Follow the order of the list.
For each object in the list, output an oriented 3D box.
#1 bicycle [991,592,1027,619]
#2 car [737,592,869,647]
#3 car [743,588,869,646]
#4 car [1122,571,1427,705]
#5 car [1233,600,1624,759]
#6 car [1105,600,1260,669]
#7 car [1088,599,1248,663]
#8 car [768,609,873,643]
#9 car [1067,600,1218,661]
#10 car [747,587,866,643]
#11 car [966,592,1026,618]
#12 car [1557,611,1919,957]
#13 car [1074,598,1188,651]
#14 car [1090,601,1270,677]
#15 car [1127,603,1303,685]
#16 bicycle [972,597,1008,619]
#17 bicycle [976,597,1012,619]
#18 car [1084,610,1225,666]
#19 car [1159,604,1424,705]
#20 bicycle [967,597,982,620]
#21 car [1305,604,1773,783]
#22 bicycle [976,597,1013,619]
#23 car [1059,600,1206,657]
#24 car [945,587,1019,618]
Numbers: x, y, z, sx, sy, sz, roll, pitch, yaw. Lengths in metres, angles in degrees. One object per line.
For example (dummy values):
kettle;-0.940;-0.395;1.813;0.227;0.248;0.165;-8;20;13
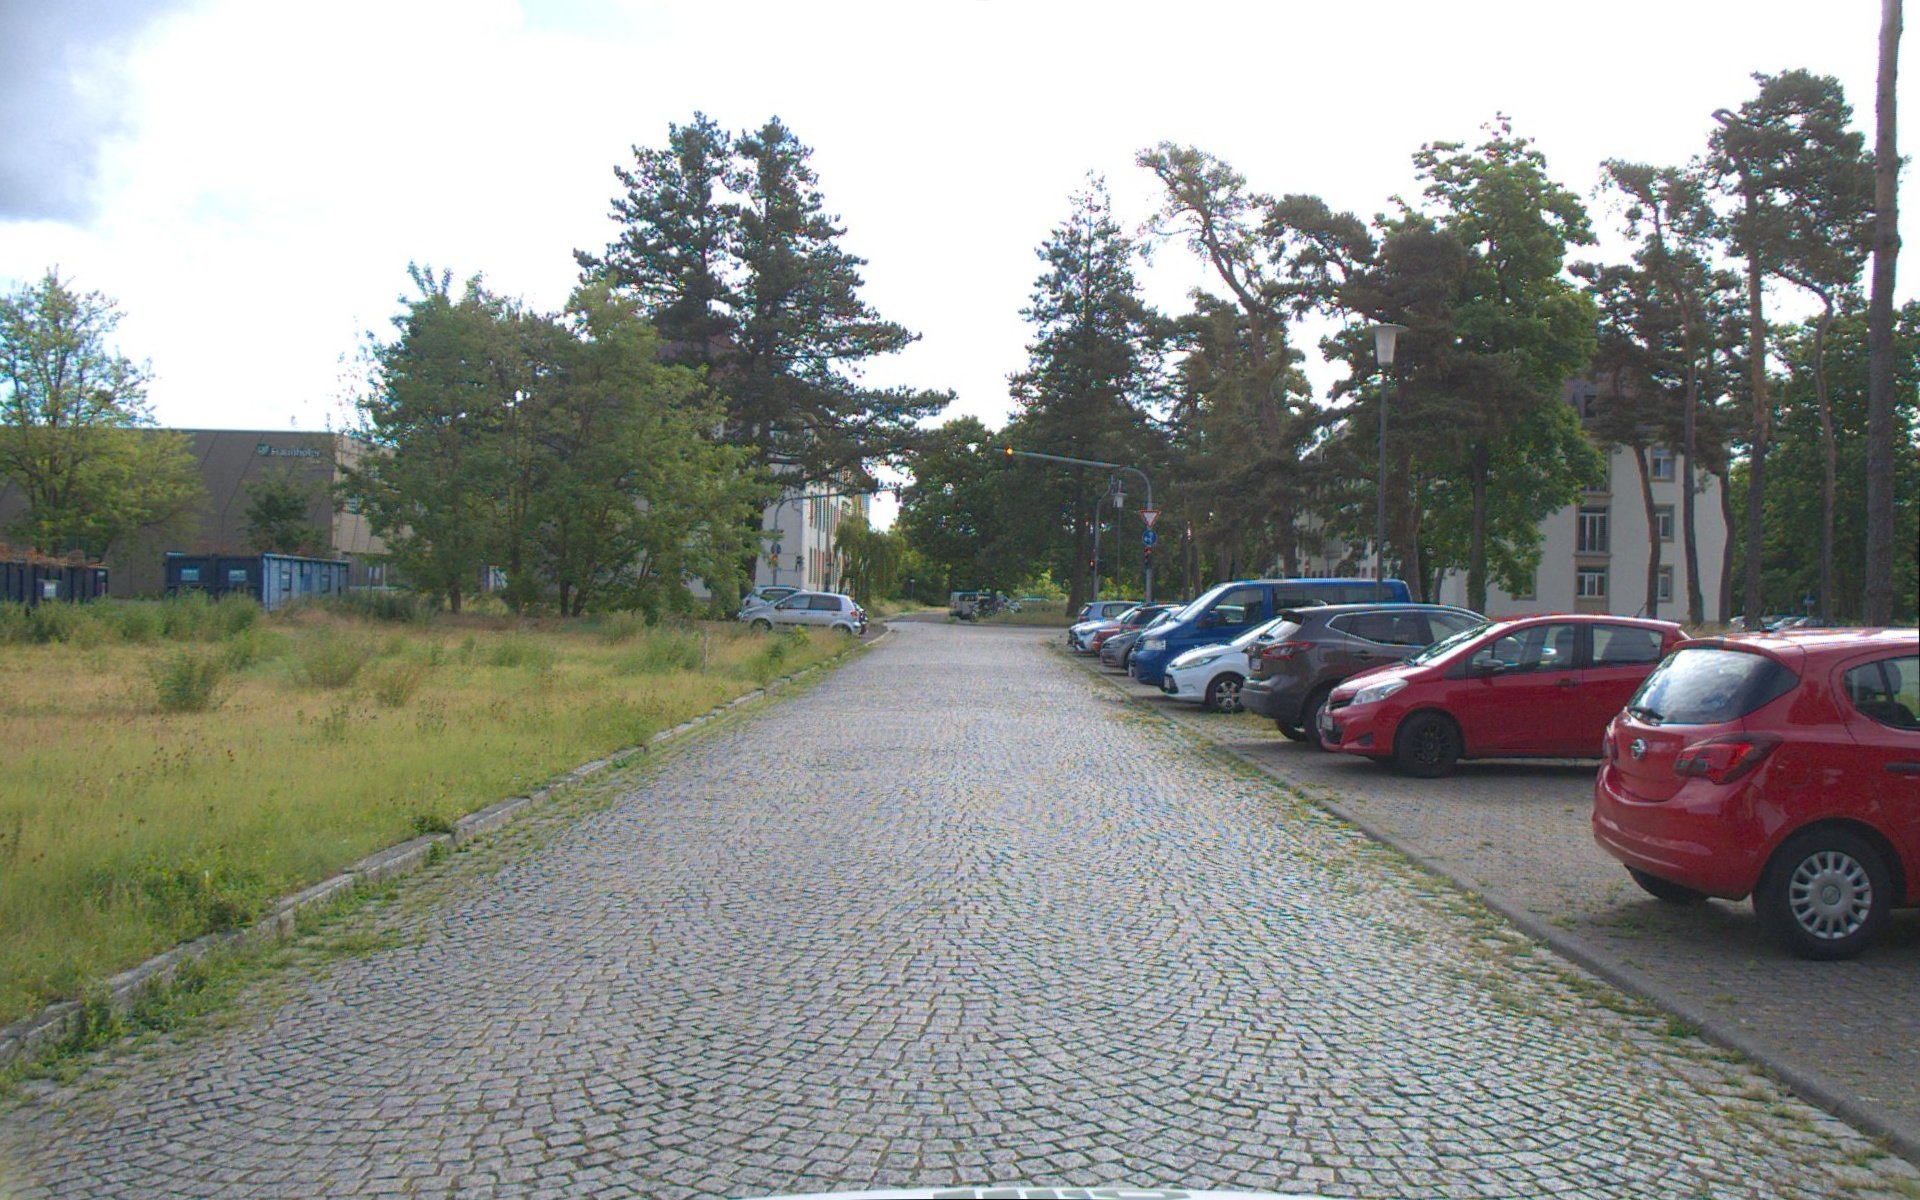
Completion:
bicycle;2.996;0.332;101.602;2.119;1.644;0.811;1;0;-7
car;-4.774;0.578;50.493;3.910;1.579;1.998;1;0;-6
car;-4.931;0.532;52.980;3.910;1.735;1.998;1;0;-6
car;5.156;0.602;27.494;4.686;2.075;1.737;1;0;-2
car;5.172;0.853;18.605;3.870;1.608;1.761;1;0;-2
car;5.199;0.792;38.846;3.233;1.530;1.660;1;0;-11
car;5.457;0.802;43.715;3.910;1.570;1.662;1;0;-6
car;-4.922;0.920;58.278;3.600;1.113;1.644;1;0;-6
car;5.034;0.835;45.946;3.910;1.570;1.662;1;0;-6
car;-5.200;0.506;56.064;3.911;1.780;1.924;1;0;-7
car;2.490;0.330;114.850;3.910;1.673;1.997;1;0;-6
car;5.211;0.838;8.364;3.761;1.532;1.738;0;0;-1
car;5.287;0.746;51.334;3.323;1.570;1.389;1;0;-6
car;4.748;0.834;35.873;3.533;1.533;1.660;1;0;-11
car;5.060;0.862;33.107;3.226;1.531;1.663;1;0;-2
bicycle;1.848;0.467;102.102;2.119;1.290;0.811;1;0;-7
bicycle;2.079;0.466;100.889;2.119;1.290;0.811;1;0;-7
car;4.843;0.944;41.467;3.228;1.289;1.662;1;0;-6
car;4.956;0.797;25.036;3.648;1.449;1.654;0;0;-3
bicycle;0.848;0.479;96.539;0.793;1.290;1.973;1;0;1
car;5.476;0.861;15.995;3.905;1.545;1.738;1;0;0
bicycle;2.083;0.461;100.302;2.119;1.290;0.811;1;0;-7
car;5.059;0.842;48.763;4.043;1.570;1.662;1;0;-6
car;1.550;0.184;118.125;4.959;2.049;1.995;1;0;-11
